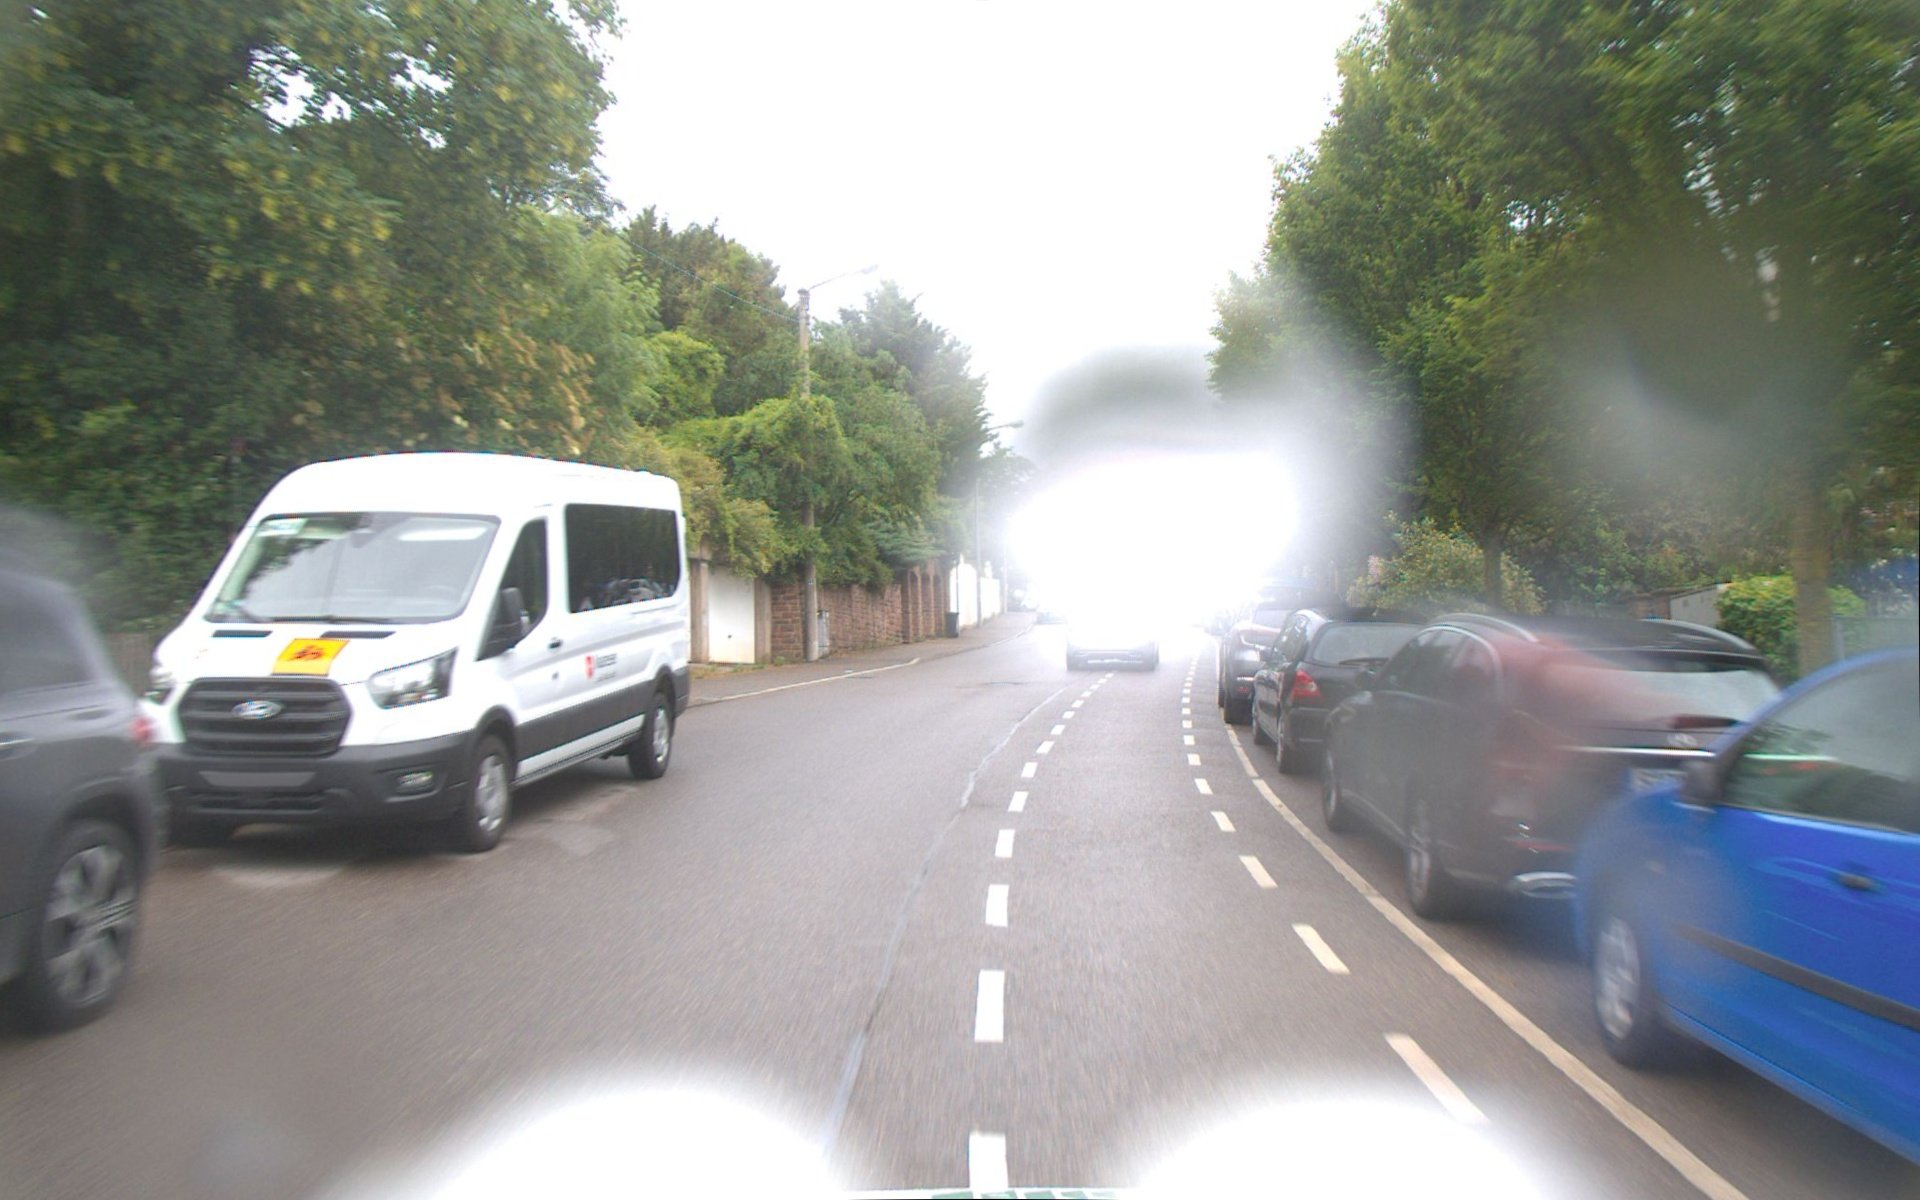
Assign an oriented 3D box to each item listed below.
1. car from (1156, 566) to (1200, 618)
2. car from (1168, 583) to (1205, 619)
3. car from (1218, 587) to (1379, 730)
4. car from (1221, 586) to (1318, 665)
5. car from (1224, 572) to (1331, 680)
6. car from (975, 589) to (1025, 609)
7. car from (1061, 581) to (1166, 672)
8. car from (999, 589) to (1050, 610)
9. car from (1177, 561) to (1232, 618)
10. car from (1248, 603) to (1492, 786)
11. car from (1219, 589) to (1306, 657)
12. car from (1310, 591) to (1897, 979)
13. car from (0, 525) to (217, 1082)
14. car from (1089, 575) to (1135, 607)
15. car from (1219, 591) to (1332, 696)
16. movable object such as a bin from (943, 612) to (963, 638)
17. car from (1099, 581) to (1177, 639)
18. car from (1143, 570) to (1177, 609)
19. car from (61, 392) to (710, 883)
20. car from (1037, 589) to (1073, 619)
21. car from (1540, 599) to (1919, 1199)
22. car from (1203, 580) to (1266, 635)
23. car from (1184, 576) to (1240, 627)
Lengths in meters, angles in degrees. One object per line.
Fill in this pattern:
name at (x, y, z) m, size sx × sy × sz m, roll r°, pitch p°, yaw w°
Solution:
car at (12.774, -0.477, 97.044) m, size 2.080 × 2.937 × 5.772 m, roll 1°, pitch 1°, yaw 3°
car at (12.430, 0.032, 90.985) m, size 1.691 × 1.816 × 4.278 m, roll 3°, pitch 1°, yaw 5°
car at (4.211, 0.656, 21.107) m, size 1.678 × 1.583 × 4.167 m, roll 2°, pitch 1°, yaw 7°
car at (6.820, 0.515, 36.792) m, size 1.745 × 1.637 × 4.227 m, roll 0°, pitch 0°, yaw 6°
car at (5.943, 0.429, 31.360) m, size 1.740 × 1.884 × 4.428 m, roll 1°, pitch 1°, yaw 8°
car at (3.655, -0.098, 150.773) m, size 1.953 × 1.727 × 4.601 m, roll 1°, pitch 1°, yaw -41°
car at (3.196, 0.503, 33.802) m, size 1.982 × 1.738 × 4.219 m, roll 0°, pitch 0°, yaw 7°
car at (5.774, -0.069, 148.402) m, size 1.956 × 1.727 × 4.423 m, roll 1°, pitch 1°, yaw -45°
car at (11.495, -0.508, 78.059) m, size 2.128 × 2.536 × 6.037 m, roll 2°, pitch 0°, yaw 5°
car at (3.773, 0.781, 15.869) m, size 1.608 × 1.449 × 4.290 m, roll 2°, pitch 0°, yaw 5°
car at (7.535, 0.527, 41.558) m, size 1.951 × 1.564 × 4.854 m, roll 1°, pitch 0°, yaw 8°
car at (3.211, 0.775, 9.356) m, size 1.738 × 1.580 × 4.730 m, roll 2°, pitch 0°, yaw 4°
car at (-3.893, 0.637, 4.341) m, size 1.857 × 1.721 × 4.545 m, roll -1°, pitch 0°, yaw -1°
car at (12.516, -0.775, 136.392) m, size 2.094 × 2.571 × 4.470 m, roll 1°, pitch 1°, yaw -20°
car at (4.969, 0.626, 26.319) m, size 1.613 × 1.507 × 4.023 m, roll 1°, pitch 0°, yaw 9°
movable object such as a bin at (-0.256, 0.915, 60.895) m, size 0.644 × 0.935 × 0.678 m, roll 0°, pitch 0°, yaw 7°
car at (5.597, 0.319, 52.453) m, size 1.953 × 1.738 × 3.999 m, roll 1°, pitch -1°, yaw -1°
car at (13.619, -0.710, 112.883) m, size 2.020 × 2.538 × 4.762 m, roll 1°, pitch 1°, yaw 5°
car at (-3.545, 0.181, 11.878) m, size 2.050 × 2.594 × 6.101 m, roll 0°, pitch 0°, yaw 5°
car at (4.849, 0.174, 84.321) m, size 1.712 × 1.381 × 4.427 m, roll -2°, pitch 0°, yaw 3°
car at (3.079, 0.792, 4.476) m, size 1.620 × 1.546 × 4.000 m, roll 1°, pitch 0°, yaw 0°
car at (9.456, 0.241, 57.288) m, size 1.743 × 1.814 × 4.681 m, roll 0°, pitch 0°, yaw 4°
car at (10.705, 0.071, 70.460) m, size 1.951 × 2.088 × 5.124 m, roll 0°, pitch 0°, yaw 4°
